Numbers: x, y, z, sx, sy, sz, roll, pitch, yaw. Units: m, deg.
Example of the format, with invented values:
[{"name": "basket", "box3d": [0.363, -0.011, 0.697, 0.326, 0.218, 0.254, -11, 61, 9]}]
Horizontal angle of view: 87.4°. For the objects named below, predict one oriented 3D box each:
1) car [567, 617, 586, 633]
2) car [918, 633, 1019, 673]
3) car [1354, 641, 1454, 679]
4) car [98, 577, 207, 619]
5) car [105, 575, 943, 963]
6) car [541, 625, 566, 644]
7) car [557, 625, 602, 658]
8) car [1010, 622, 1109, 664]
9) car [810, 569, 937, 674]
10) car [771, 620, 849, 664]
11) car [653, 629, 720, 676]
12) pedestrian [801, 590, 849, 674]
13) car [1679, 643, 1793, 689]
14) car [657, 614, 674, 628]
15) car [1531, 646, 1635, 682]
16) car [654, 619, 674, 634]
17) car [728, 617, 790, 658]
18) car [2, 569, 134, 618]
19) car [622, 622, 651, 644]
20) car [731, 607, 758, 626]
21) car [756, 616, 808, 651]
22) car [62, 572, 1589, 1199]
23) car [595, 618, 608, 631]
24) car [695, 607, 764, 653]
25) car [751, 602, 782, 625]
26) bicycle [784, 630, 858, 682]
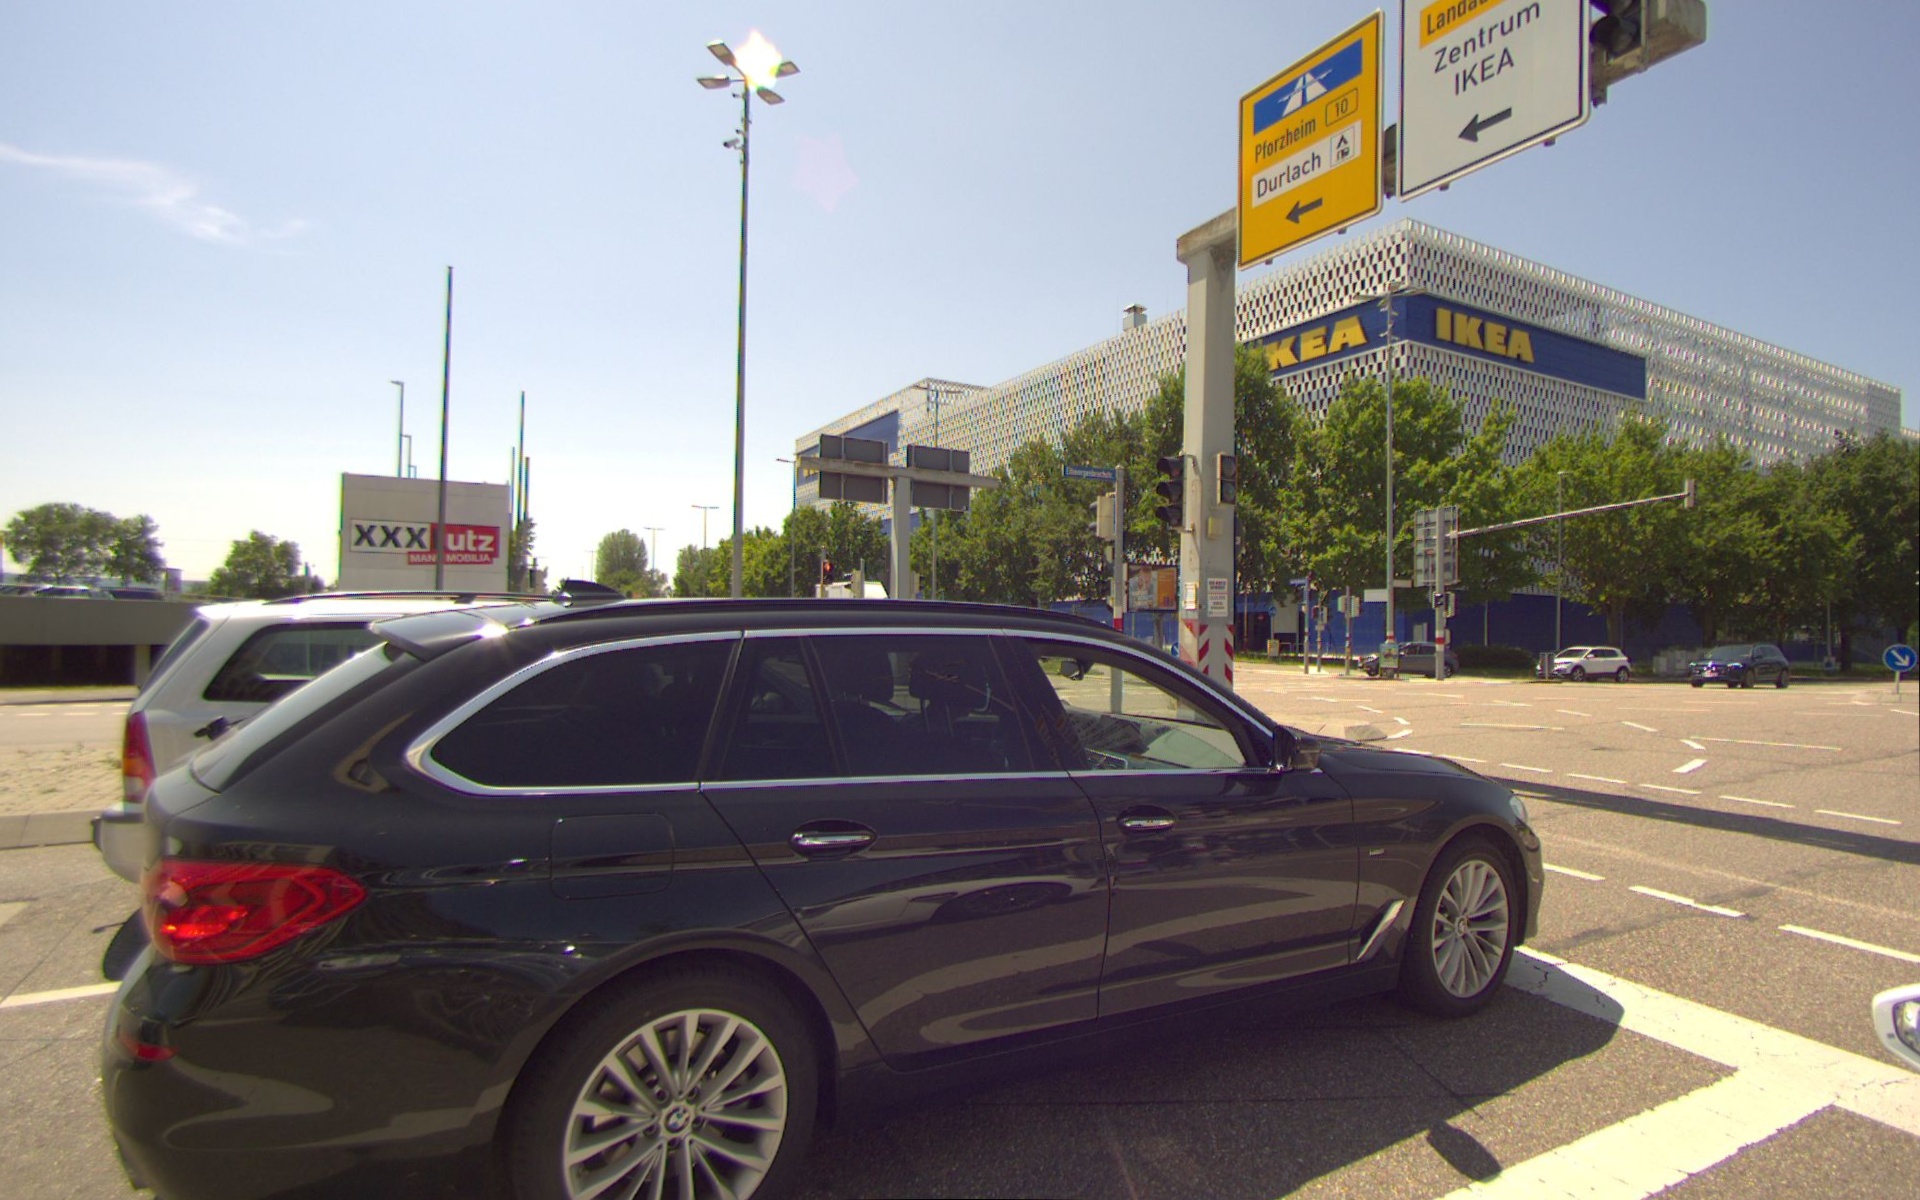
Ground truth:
[{"name": "car", "box3d": [-69.215, 4.495, 181.387, 2.877, 2.724, 6.127, 2, -2, -24]}, {"name": "car", "box3d": [0.238, 1.877, 36.661, 1.756, 1.360, 4.262, 1, -2, -30]}, {"name": "car", "box3d": [19.310, 2.601, 43.851, 3.678, 1.553, 1.778, 0, -2, 10]}, {"name": "car", "box3d": [-40.311, -0.059, 50.268, 3.956, 1.933, 1.983, 2, -2, -32]}, {"name": "car", "box3d": [-2.233, 0.716, 5.824, 3.961, 1.514, 1.785, 2, -1, -36]}, {"name": "car", "box3d": [-36.368, 3.094, 89.867, 1.718, 1.708, 3.642, 2, -2, -28]}, {"name": "car", "box3d": [-23.945, 2.580, 63.146, 1.815, 2.040, 3.963, 2, -2, -34]}, {"name": "car", "box3d": [4.974, 2.133, 50.540, 4.692, 2.034, 1.991, -1, -3, 39]}, {"name": "car", "box3d": [-3.390, 0.801, 37.531, 2.156, 3.532, 6.875, 0, -1, -28]}, {"name": "car", "box3d": [-6.794, 1.849, 45.014, 1.973, 1.835, 5.438, 1, -2, -25]}, {"name": "car", "box3d": [-9.531, 1.796, 34.843, 1.904, 1.528, 3.982, 1, -2, -20]}, {"name": "pedestrian", "box3d": [-3.352, 0.789, 24.917, 0.856, 2.040, 0.899, 1, -2, -35]}, {"name": "car", "box3d": [29.080, 2.455, 37.600, 4.444, 1.619, 1.866, 2, -3, -30]}, {"name": "car", "box3d": [-47.288, 3.375, 161.254, 1.974, 2.040, 3.972, 2, -1, -27]}, {"name": "car", "box3d": [27.470, 2.809, 44.289, 4.002, 1.476, 1.622, 2, -2, -15]}, {"name": "car", "box3d": [-41.335, 3.755, 140.034, 1.974, 2.040, 3.973, 2, -3, -27]}, {"name": "car", "box3d": [-10.631, 1.955, 52.992, 1.975, 2.040, 4.681, 2, -2, -27]}, {"name": "car", "box3d": [-39.183, -0.249, 44.254, 3.953, 1.957, 1.984, 2, -2, -30]}, {"name": "car", "box3d": [-30.816, 3.099, 95.607, 1.906, 2.040, 3.971, 2, -2, -28]}, {"name": "car", "box3d": [-23.115, 1.813, 107.720, 1.729, 1.884, 3.969, 2, -3, -30]}, {"name": "car", "box3d": [-10.606, 2.004, 59.587, 1.974, 2.014, 3.974, 2, -3, -26]}, {"name": "car", "box3d": [0.078, 0.750, 3.561, 4.570, 1.485, 1.791, 1, -1, -31]}, {"name": "car", "box3d": [-59.995, 4.068, 168.086, 1.971, 2.040, 3.979, 2, -2, -22]}, {"name": "car", "box3d": [-13.859, 1.808, 60.029, 2.542, 2.568, 6.587, 2, -2, -26]}, {"name": "car", "box3d": [-18.135, 1.269, 94.050, 1.972, 2.040, 3.978, 2, -2, -23]}, {"name": "bicycle", "box3d": [-3.496, 1.368, 25.092, 0.987, 1.229, 2.079, 2, -2, -35]}]
